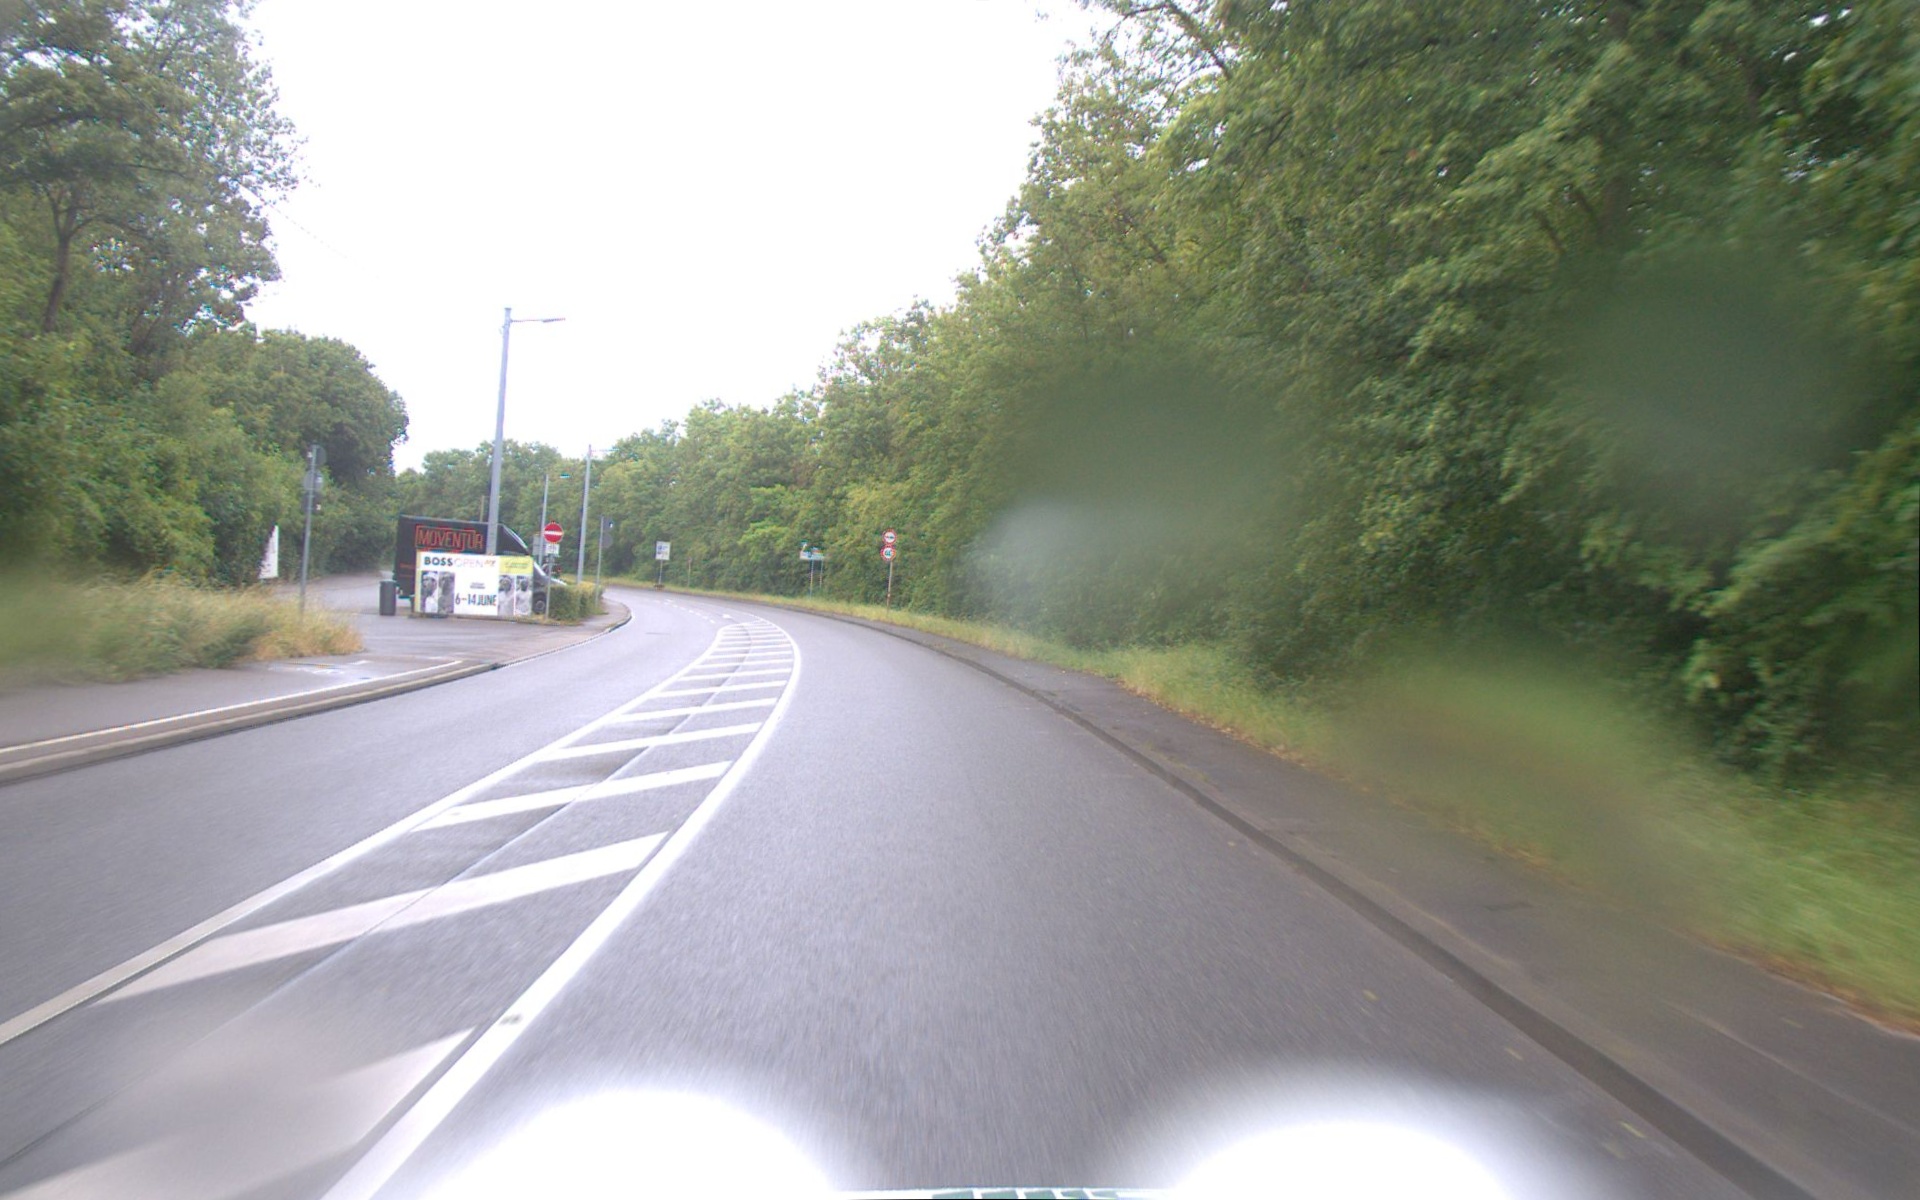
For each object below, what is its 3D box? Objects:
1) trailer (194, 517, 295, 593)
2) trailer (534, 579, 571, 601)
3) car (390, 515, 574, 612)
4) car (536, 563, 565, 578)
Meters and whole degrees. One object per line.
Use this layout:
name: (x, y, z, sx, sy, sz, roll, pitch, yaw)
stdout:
trailer: (-29.655, -1.813, 68.856, 2.433, 2.924, 7.949, 2, 0, -14)
trailer: (-21.247, -0.524, 86.137, 1.773, 1.052, 1.328, 2, 0, -17)
car: (-17.323, -1.277, 60.352, 6.165, 3.168, 2.742, 2, -1, -14)
car: (-44.532, -3.207, 179.886, 1.915, 1.524, 4.274, 2, 1, -31)
